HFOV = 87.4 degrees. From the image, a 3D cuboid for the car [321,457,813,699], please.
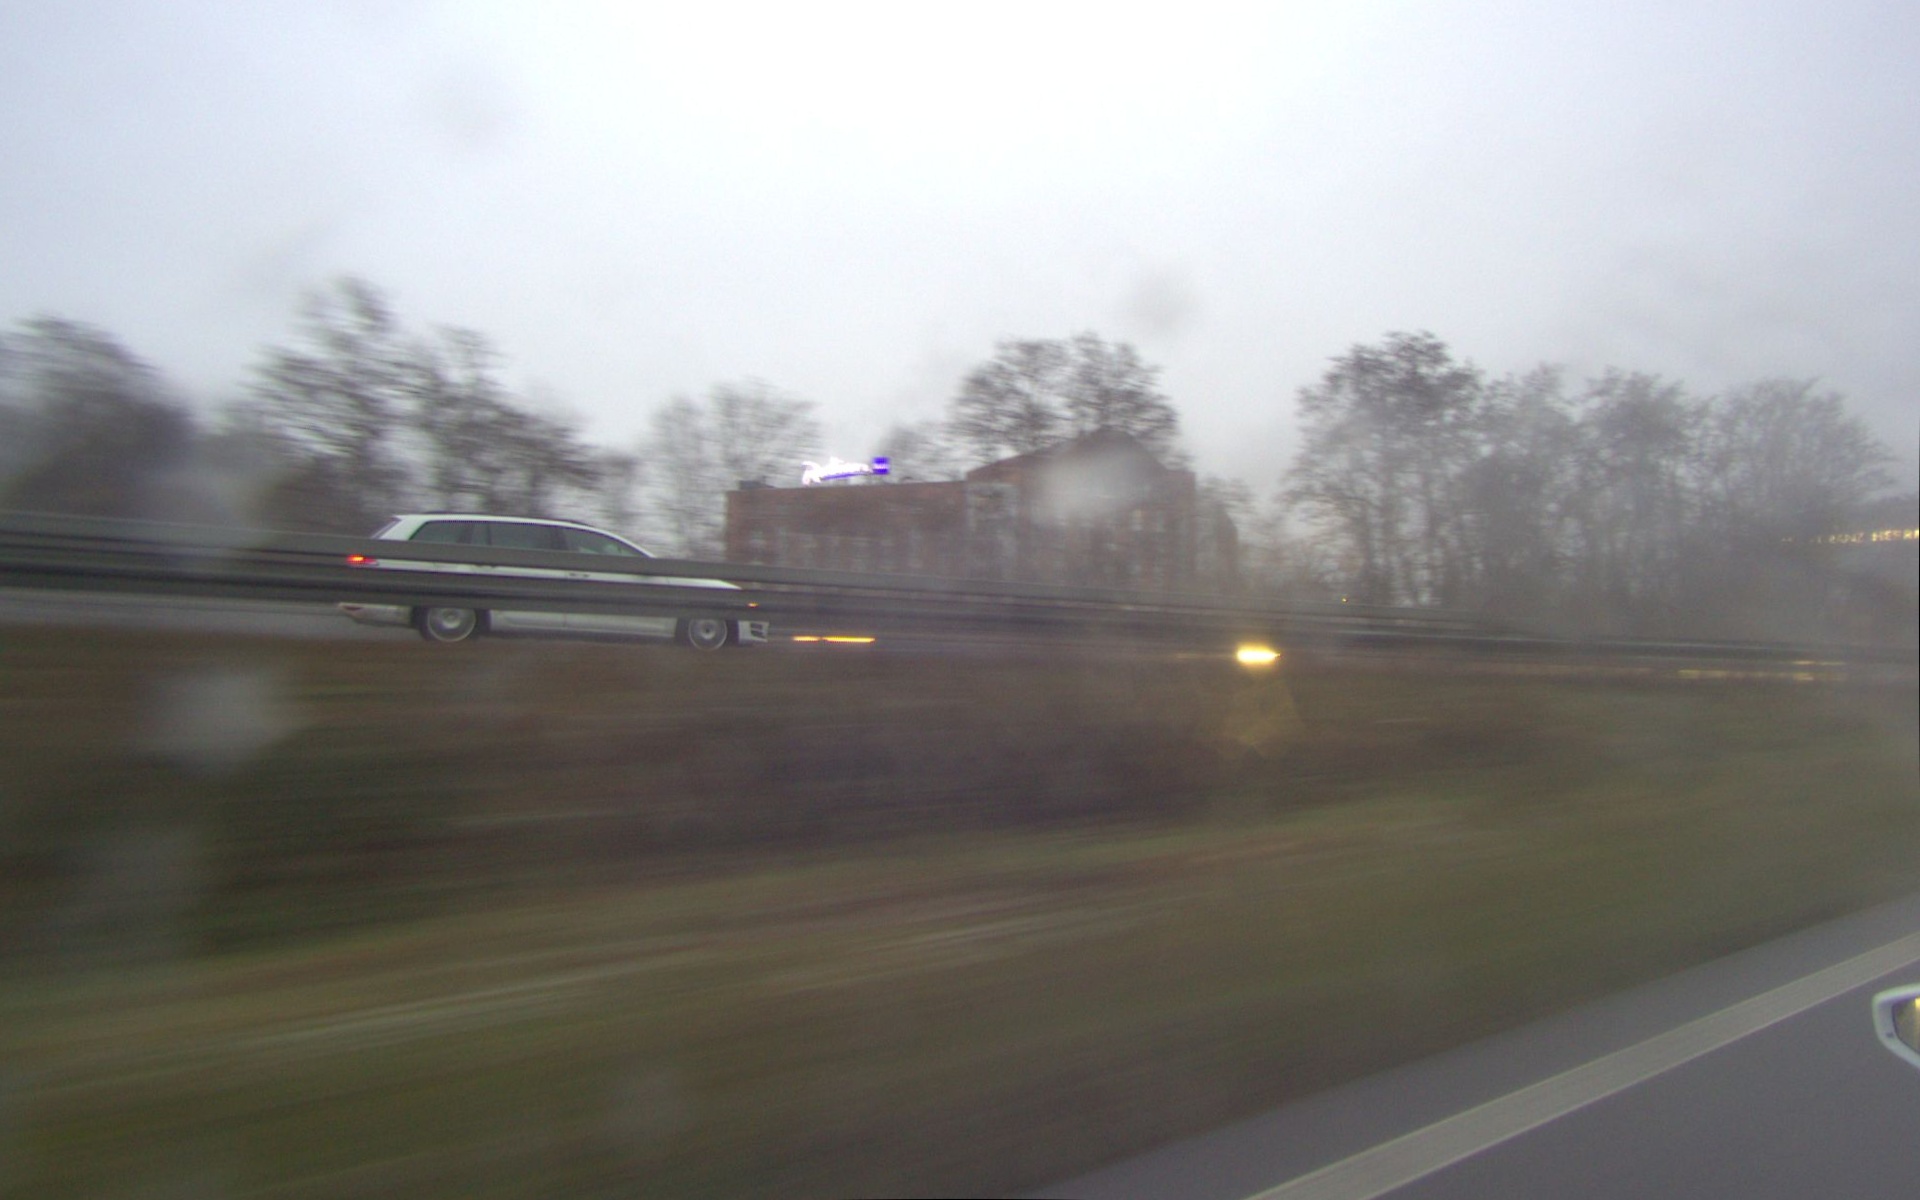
[{"bbox_3d":[-4.331,-0.197,11.532,4.693,2.039,1.986,7,3,-27],"label":"car"}]
